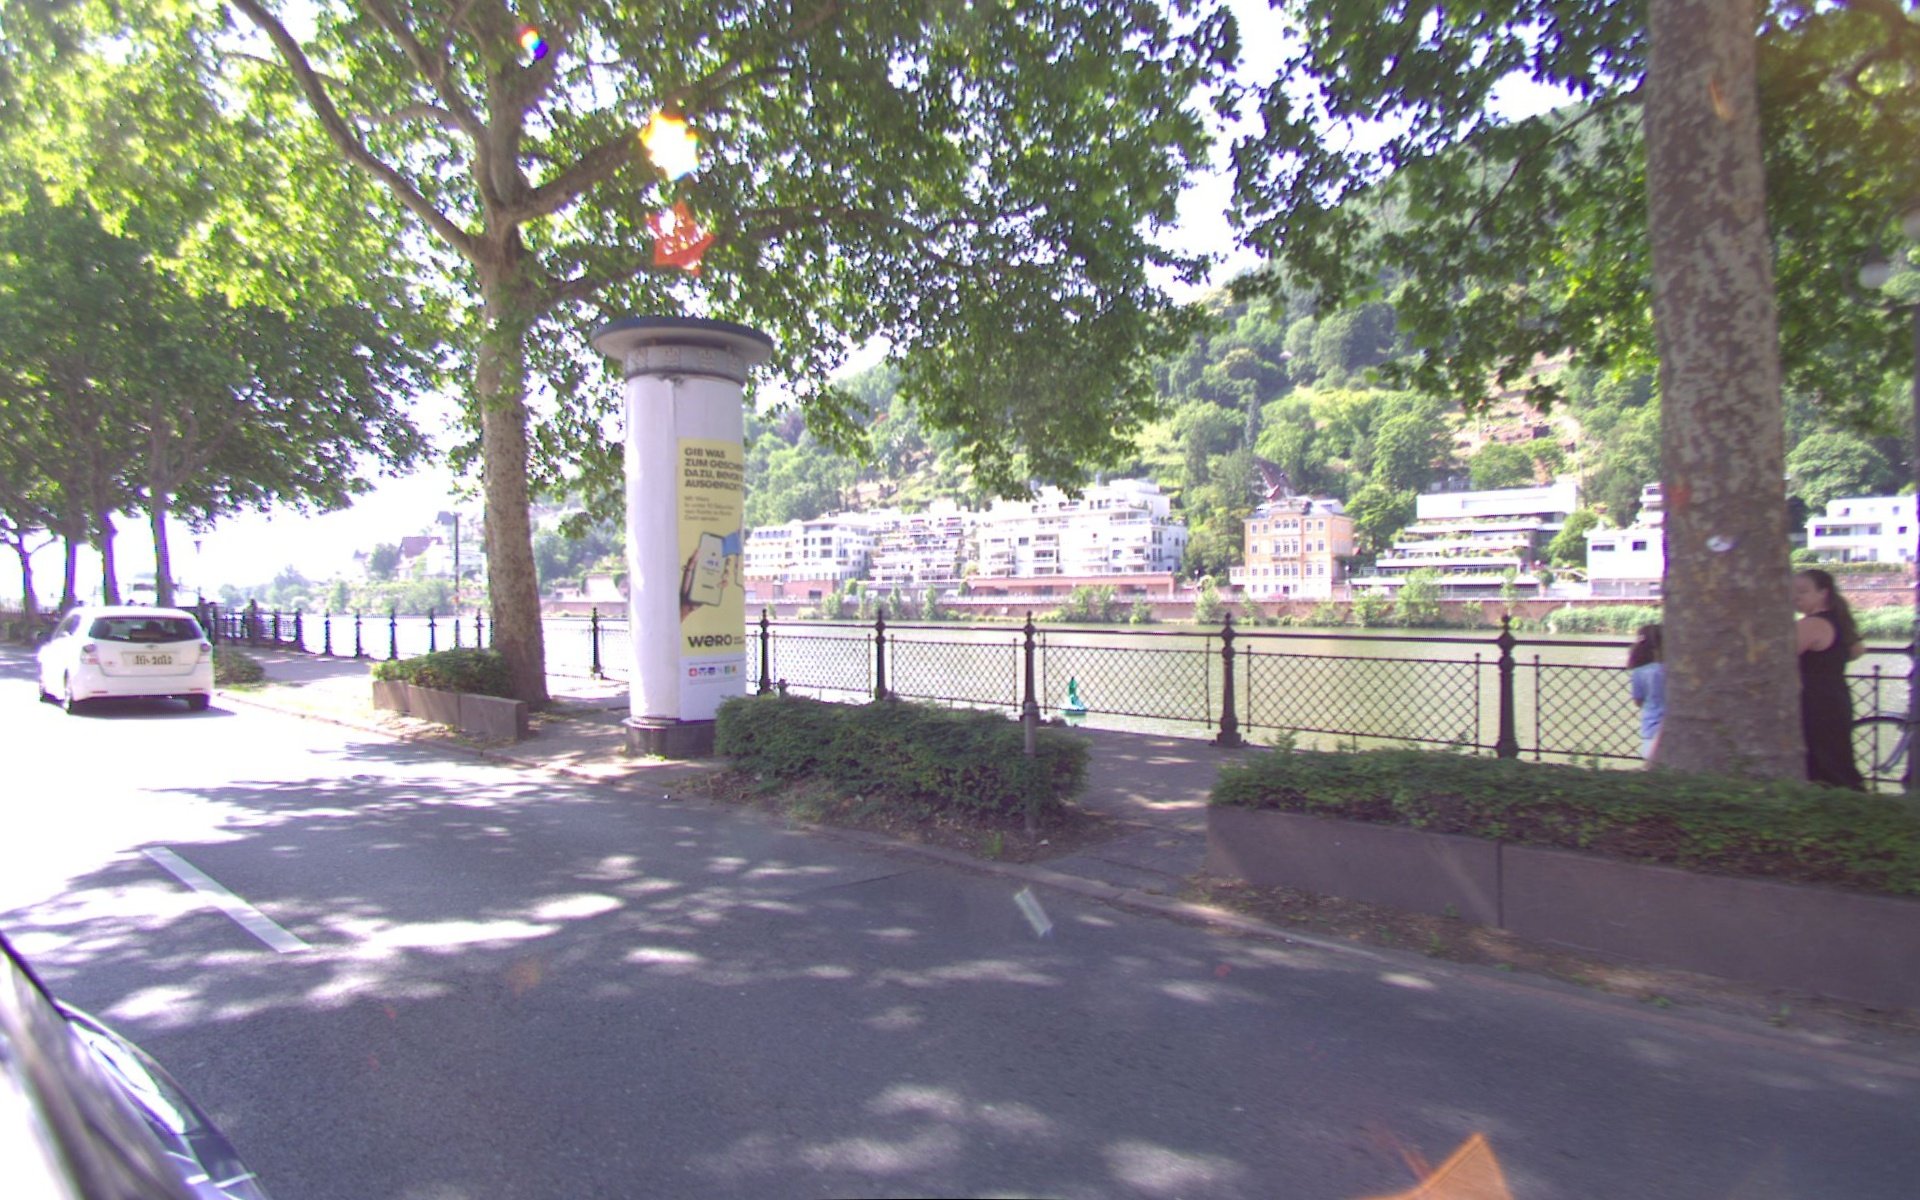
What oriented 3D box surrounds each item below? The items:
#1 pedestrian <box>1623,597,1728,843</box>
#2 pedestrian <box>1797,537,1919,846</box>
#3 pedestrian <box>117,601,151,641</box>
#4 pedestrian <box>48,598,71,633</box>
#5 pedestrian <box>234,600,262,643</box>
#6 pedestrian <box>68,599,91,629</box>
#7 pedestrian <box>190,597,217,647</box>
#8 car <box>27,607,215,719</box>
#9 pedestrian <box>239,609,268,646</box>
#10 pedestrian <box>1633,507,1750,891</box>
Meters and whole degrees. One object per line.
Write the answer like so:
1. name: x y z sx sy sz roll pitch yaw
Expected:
1. pedestrian: 4.245 0.675 6.001 0.473 1.373 0.417 -2 1 -45
2. pedestrian: 5.302 0.507 5.932 0.583 1.698 0.595 -1 -1 40
3. pedestrian: -43.829 1.086 53.743 1.032 2.028 1.038 -2 2 -18
4. pedestrian: -50.018 0.853 56.217 0.929 1.863 0.796 0 2 41
5. pedestrian: -29.621 0.897 42.092 0.829 1.771 0.767 -1 -2 41
6. pedestrian: -49.769 0.772 57.194 0.885 1.646 1.060 -3 2 -43
7. pedestrian: -28.930 0.833 38.694 0.756 1.915 0.772 1 -1 -41
8. car: -13.682 0.946 16.425 4.090 1.584 1.720 -1 -3 42
9. pedestrian: -27.222 1.062 38.983 0.770 1.398 0.758 -1 -1 40
10. pedestrian: 3.872 0.489 5.352 0.436 1.901 0.528 -1 0 41
